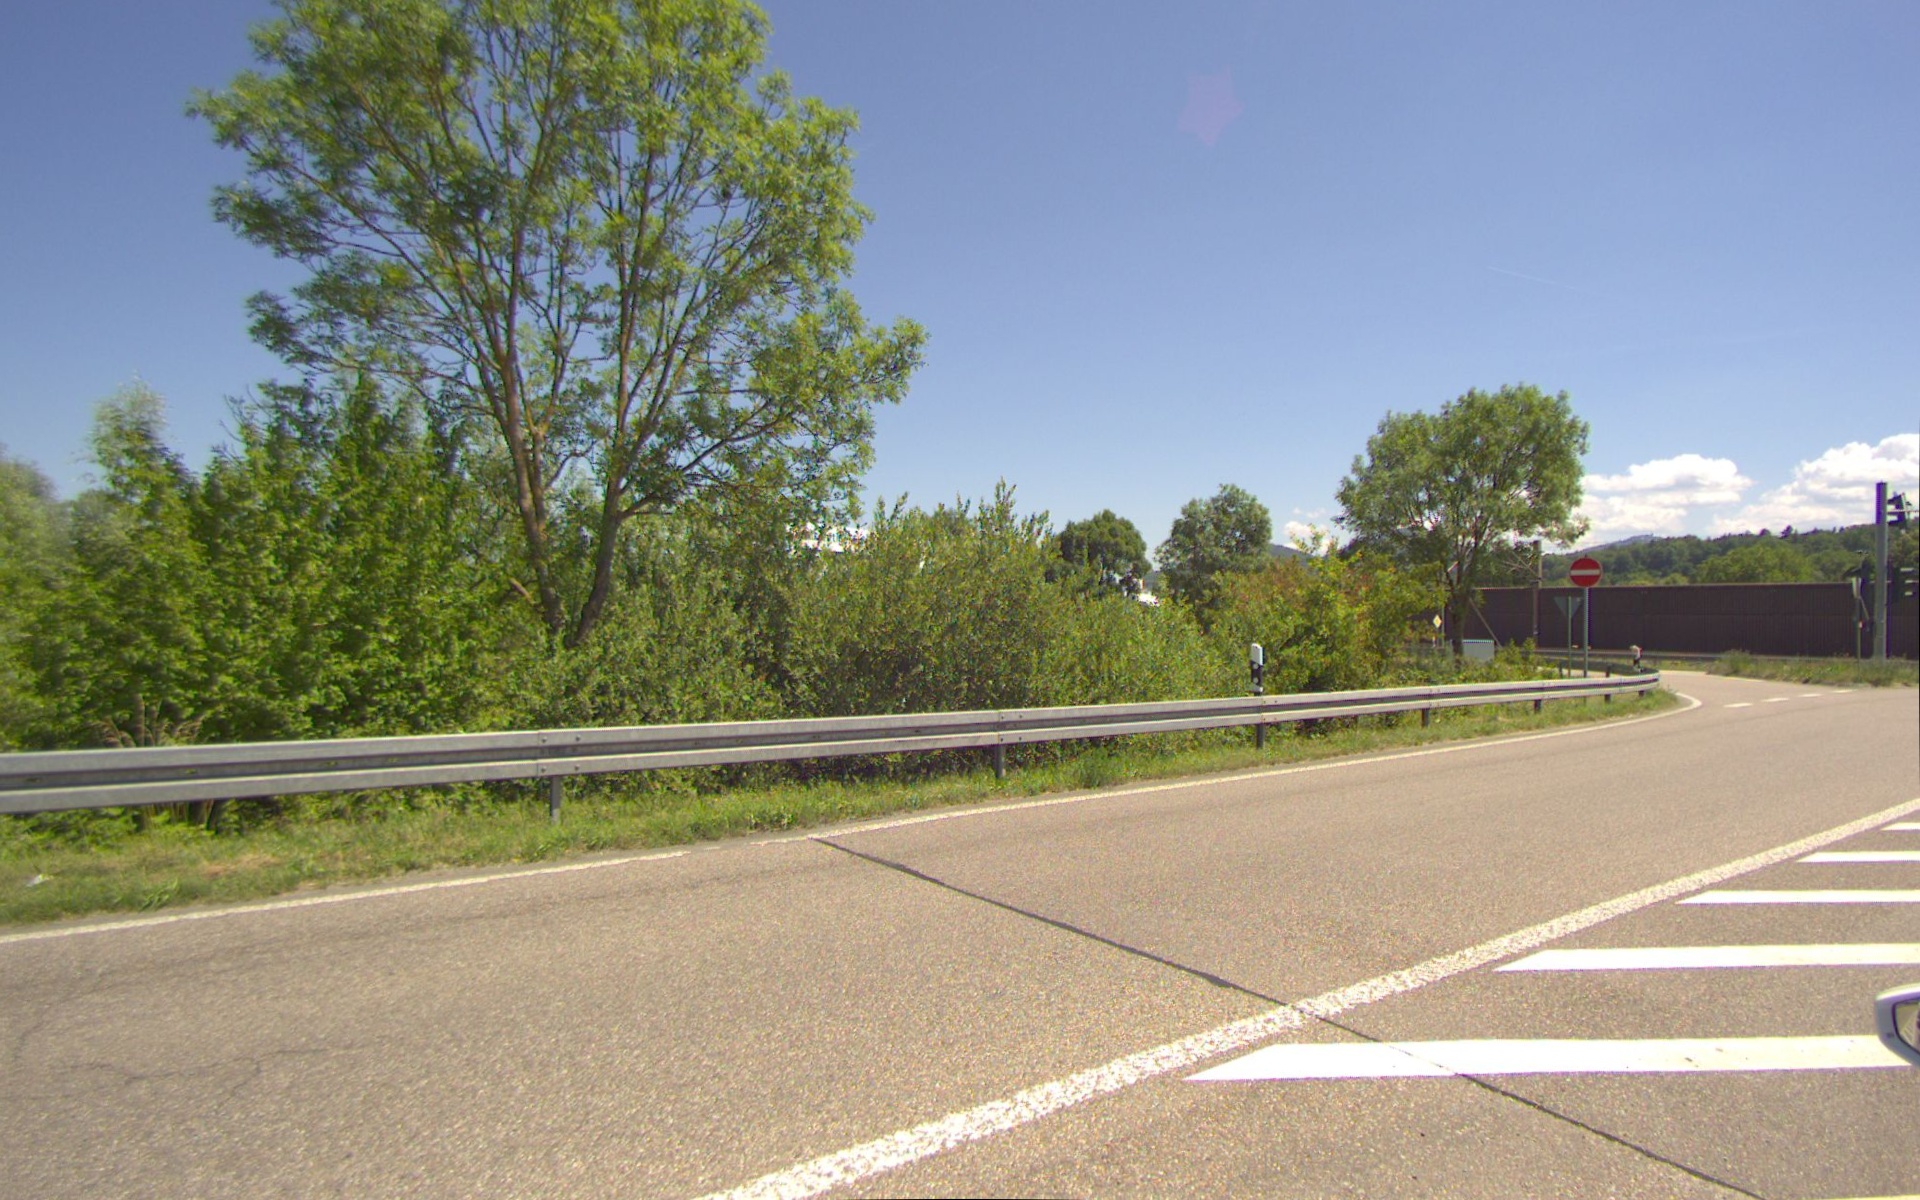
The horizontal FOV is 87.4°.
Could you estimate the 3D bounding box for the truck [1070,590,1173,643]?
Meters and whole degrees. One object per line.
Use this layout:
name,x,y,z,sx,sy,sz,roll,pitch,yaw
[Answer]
truck,11.245,1.117,71.011,2.100,3.516,9.029,1,-1,-28
